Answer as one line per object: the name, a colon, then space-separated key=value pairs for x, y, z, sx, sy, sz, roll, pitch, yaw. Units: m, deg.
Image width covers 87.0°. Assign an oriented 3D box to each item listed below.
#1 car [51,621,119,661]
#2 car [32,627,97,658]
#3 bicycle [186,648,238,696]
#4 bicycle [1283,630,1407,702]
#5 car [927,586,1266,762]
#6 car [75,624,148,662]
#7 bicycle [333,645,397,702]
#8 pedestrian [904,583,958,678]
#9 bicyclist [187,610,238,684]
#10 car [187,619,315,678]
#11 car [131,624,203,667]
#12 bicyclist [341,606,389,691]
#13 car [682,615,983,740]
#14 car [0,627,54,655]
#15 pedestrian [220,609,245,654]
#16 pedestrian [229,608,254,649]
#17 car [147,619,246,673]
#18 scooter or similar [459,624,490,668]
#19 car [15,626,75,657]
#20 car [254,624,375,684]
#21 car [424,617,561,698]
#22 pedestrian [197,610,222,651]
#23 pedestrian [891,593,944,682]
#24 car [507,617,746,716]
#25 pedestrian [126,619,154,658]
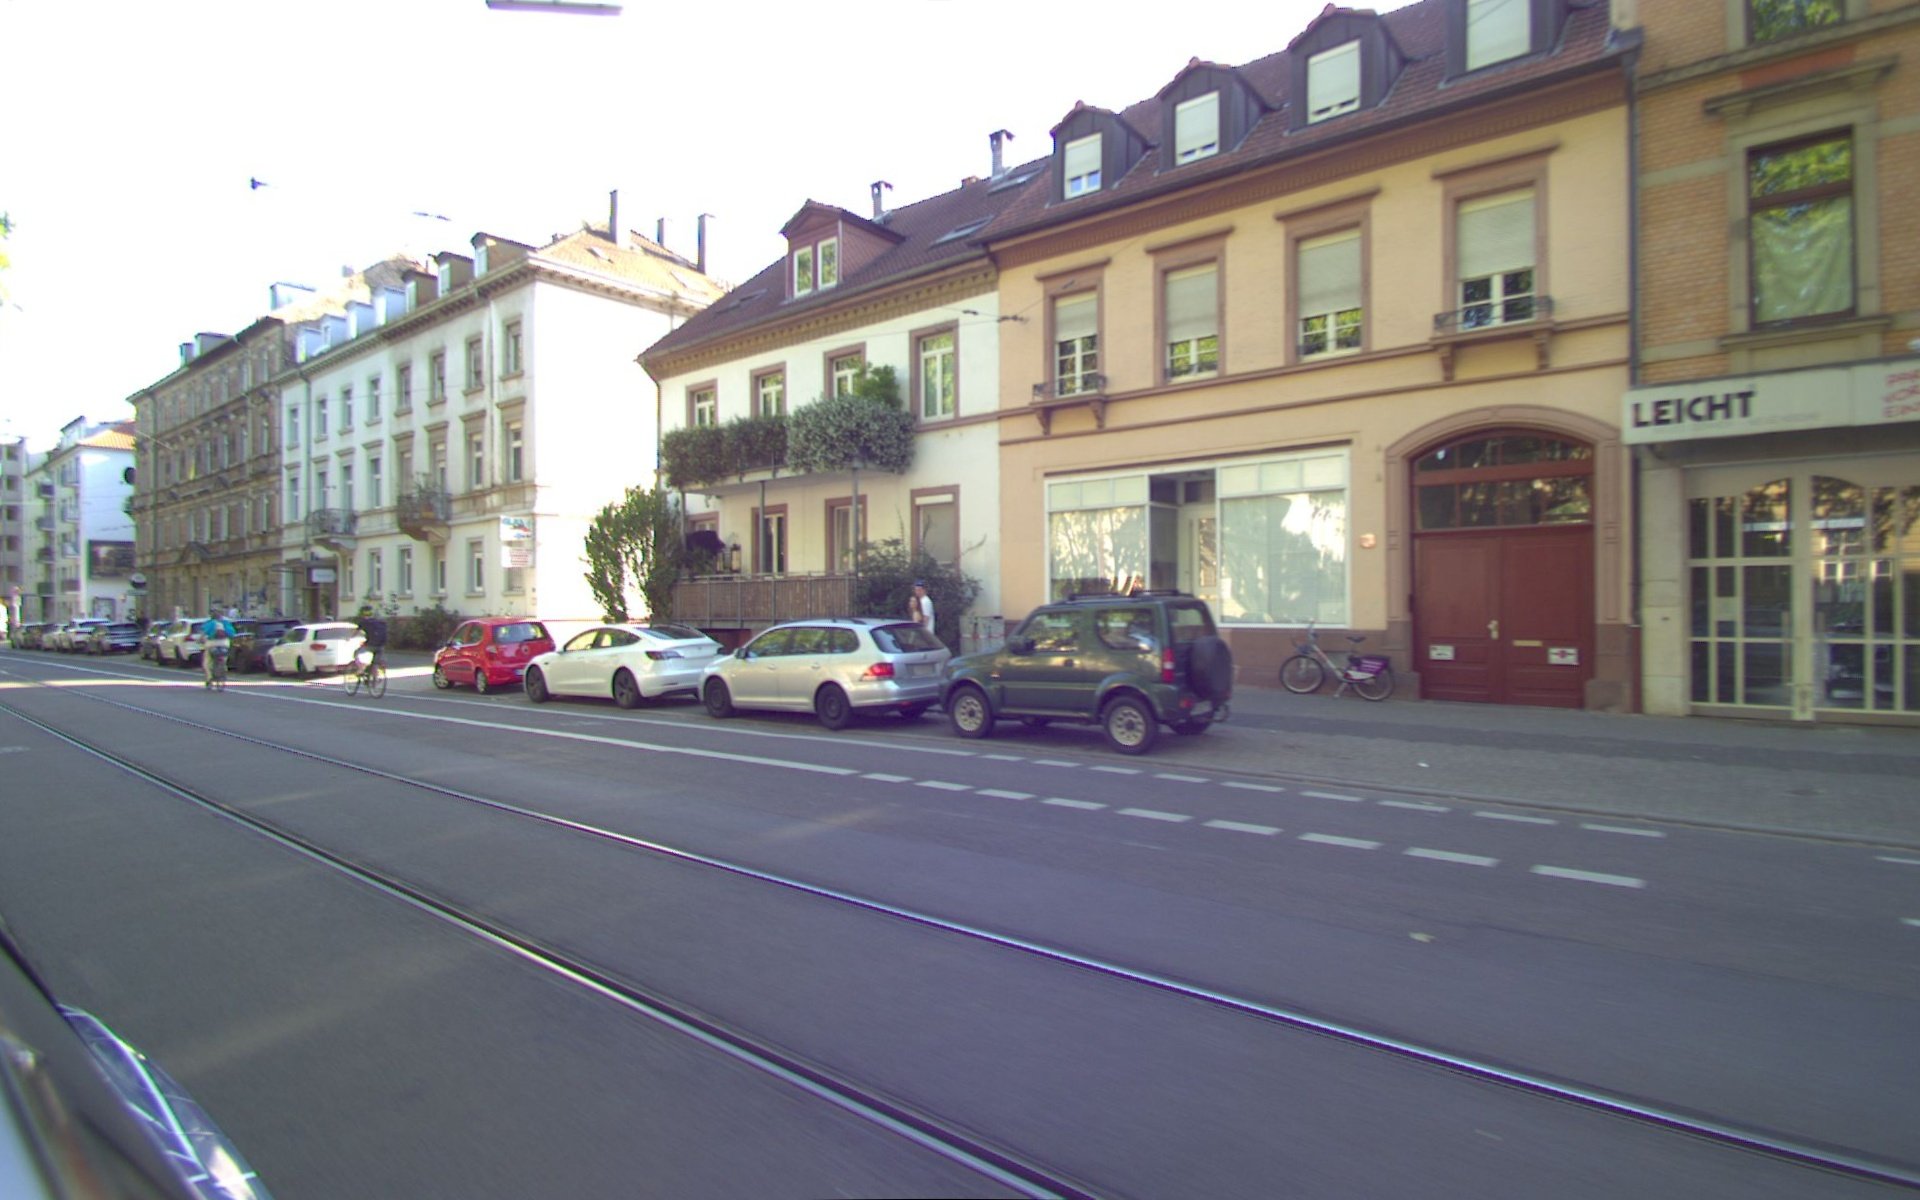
car: x=-41.877 y=1.927 z=48.394 sx=4.715 sy=1.736 sz=1.768 roll=-1 pitch=0 yaw=40
car: x=-45.785 y=2.152 z=51.726 sx=3.992 sy=1.431 sz=1.684 roll=-1 pitch=0 yaw=36
bicycle: x=-15.964 y=1.514 z=21.579 sx=1.921 sy=0.950 sz=0.493 roll=-1 pitch=-3 yaw=42
bicycle: x=5.699 y=0.960 z=15.062 sx=1.722 sy=1.022 sz=0.295 roll=-1 pitch=-1 yaw=41
car: x=1.510 y=0.771 z=11.939 sx=3.682 sy=1.745 sz=1.540 roll=-1 pitch=0 yaw=40
car: x=-37.636 y=1.883 z=44.871 sx=4.059 sy=1.532 sz=1.647 roll=-1 pitch=0 yaw=38
bicycle: x=-11.860 y=1.445 z=20.138 sx=2.039 sy=1.055 sz=0.479 roll=-1 pitch=-3 yaw=42
pedestrian: x=-0.506 y=0.532 z=18.004 sx=0.653 sy=1.646 sz=0.768 roll=-1 pitch=0 yaw=24
bicyclist: x=-15.878 y=0.982 z=21.498 sx=1.069 sy=1.515 sz=0.631 roll=-1 pitch=-2 yaw=41
car: x=-22.244 y=1.466 z=31.699 sx=4.649 sy=1.716 sz=1.840 roll=-1 pitch=-1 yaw=35
car: x=-30.146 y=1.705 z=38.423 sx=3.923 sy=1.527 sz=1.537 roll=-2 pitch=-2 yaw=43
bicyclist: x=-11.811 y=0.955 z=20.078 sx=0.896 sy=1.647 sz=0.529 roll=-1 pitch=-3 yaw=42
car: x=-1.974 y=1.029 z=14.819 sx=4.445 sy=1.514 sz=1.809 roll=-1 pitch=0 yaw=40
car: x=-53.873 y=2.354 z=58.423 sx=4.041 sy=1.503 sz=1.724 roll=-1 pitch=0 yaw=39
pedestrian: x=-33.687 y=1.458 z=46.838 sx=0.829 sy=2.029 sz=0.752 roll=-1 pitch=-1 yaw=38
pedestrian: x=-30.368 y=1.199 z=42.792 sx=0.653 sy=1.678 sz=0.771 roll=-1 pitch=0 yaw=-18
car: x=-26.499 y=1.545 z=35.072 sx=4.760 sy=1.716 sz=1.837 roll=-1 pitch=-1 yaw=41
scooter or similar: x=-14.794 y=1.390 z=30.803 sx=0.441 sy=1.290 sz=1.577 roll=0 pitch=-1 yaw=-41
car: x=-49.891 y=2.216 z=55.156 sx=4.781 sy=1.574 sz=1.724 roll=-1 pitch=0 yaw=39
car: x=-18.196 y=1.465 z=28.464 sx=4.254 sy=1.488 sz=1.670 roll=-1 pitch=0 yaw=40
car: x=-10.081 y=1.183 z=21.738 sx=3.450 sy=1.574 sz=1.551 roll=-2 pitch=-2 yaw=44
pedestrian: x=-34.201 y=1.364 z=46.121 sx=0.829 sy=1.835 sz=0.752 roll=-1 pitch=-1 yaw=37
pedestrian: x=-0.722 y=0.629 z=17.264 sx=0.653 sy=1.471 sz=0.632 roll=-1 pitch=0 yaw=24
car: x=-6.112 y=1.118 z=18.262 sx=4.682 sy=1.514 sz=1.810 roll=-1 pitch=0 yaw=38
pedestrian: x=-39.084 y=1.835 z=48.233 sx=1.053 sy=1.814 sz=0.678 roll=-1 pitch=0 yaw=31
